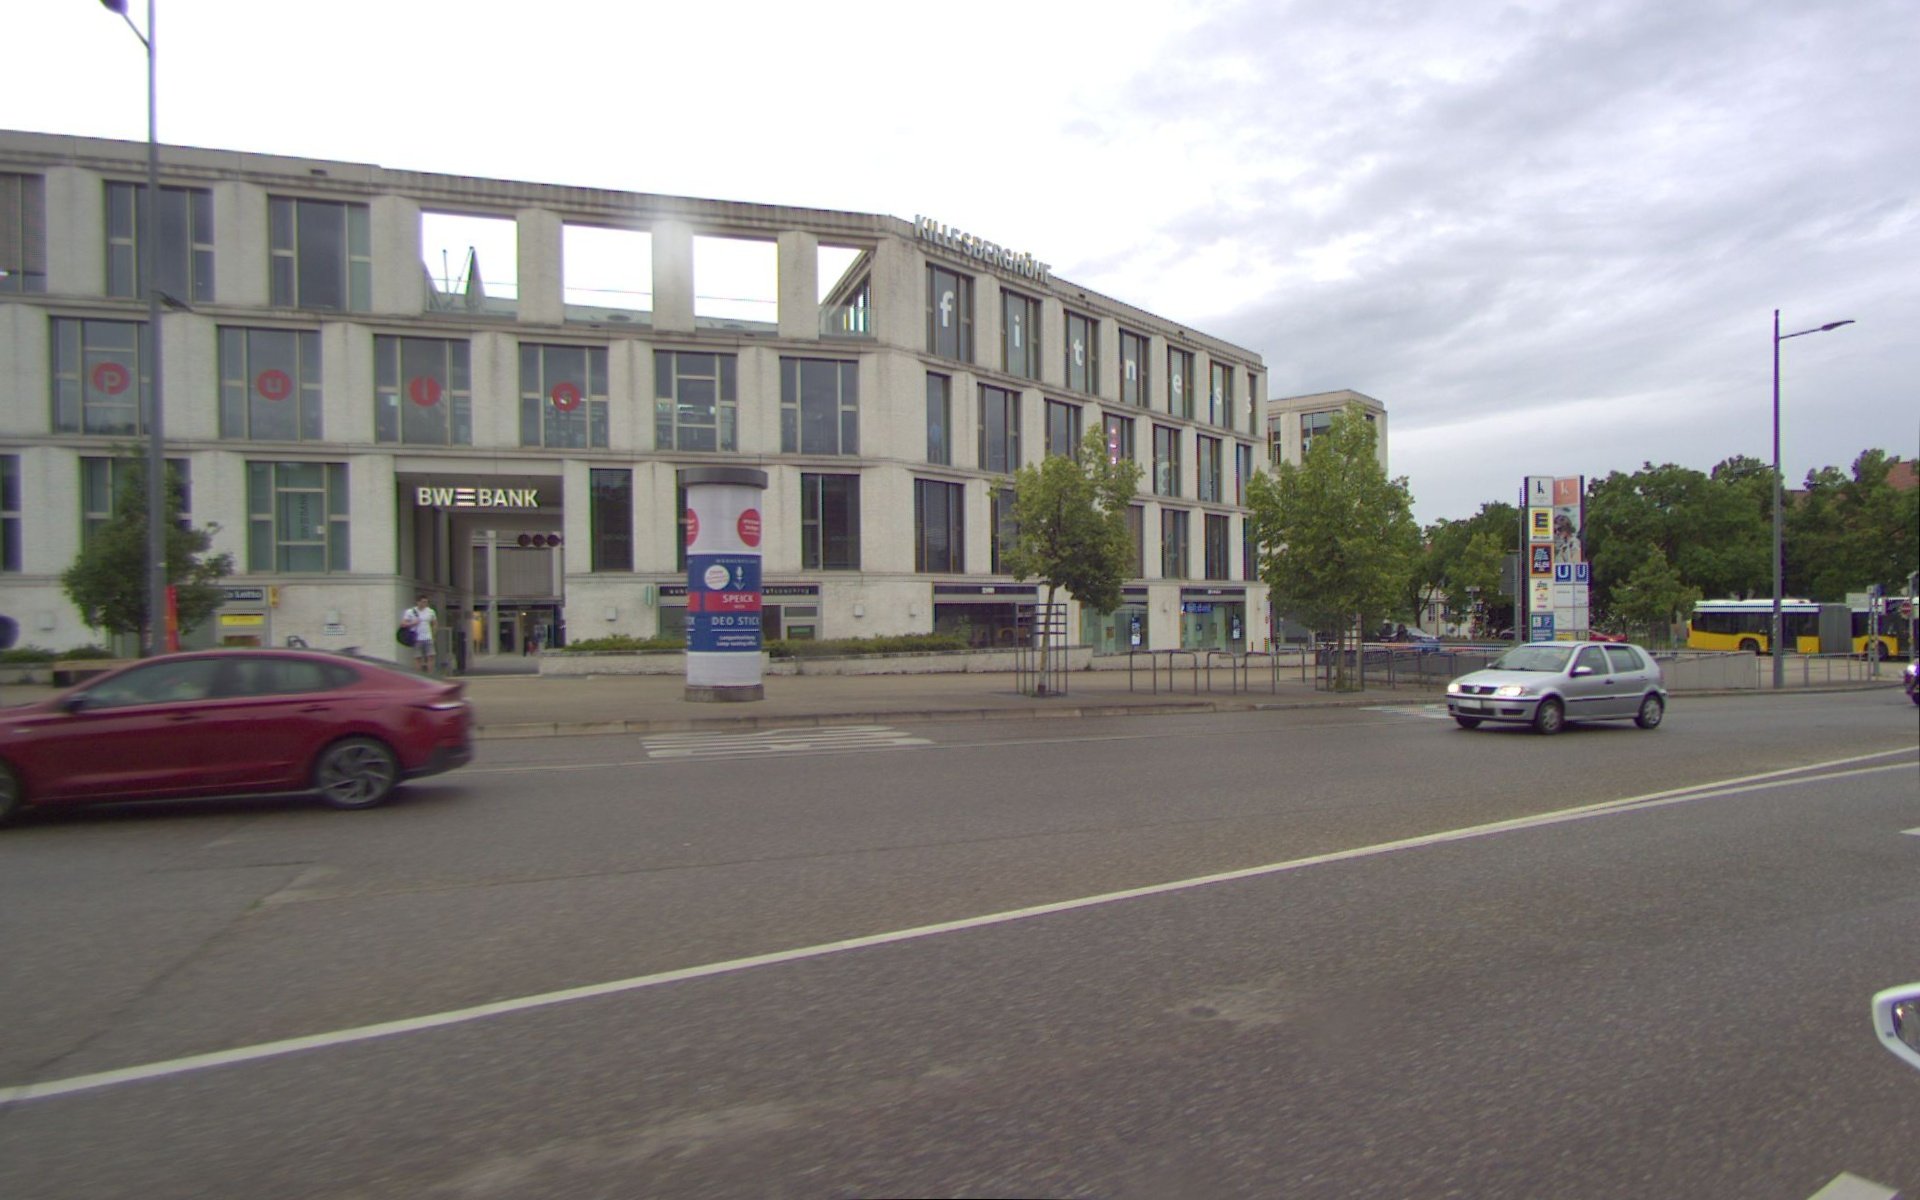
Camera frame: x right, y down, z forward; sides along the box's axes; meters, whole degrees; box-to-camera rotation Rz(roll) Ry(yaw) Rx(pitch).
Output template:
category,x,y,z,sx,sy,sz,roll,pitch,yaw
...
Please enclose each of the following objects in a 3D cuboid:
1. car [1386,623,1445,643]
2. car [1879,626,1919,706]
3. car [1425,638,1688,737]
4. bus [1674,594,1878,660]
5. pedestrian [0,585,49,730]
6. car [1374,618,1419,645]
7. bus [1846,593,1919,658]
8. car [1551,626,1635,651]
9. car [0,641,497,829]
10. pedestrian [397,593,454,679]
category,x,y,z,sx,sy,sz,roll,pitch,yaw
car,34.041,2.449,75.204,1.645,1.444,3.956,1,0,-24
car,22.670,1.412,22.099,4.671,1.705,1.849,1,-3,-24
car,9.681,1.360,16.307,3.824,1.435,1.758,1,-3,-24
bus,44.919,1.471,55.727,2.854,3.351,8.536,1,-1,-20
pedestrian,-12.636,0.743,13.195,0.735,1.866,0.752,1,-1,-21
car,29.163,2.089,67.066,1.752,1.754,3.983,0,-1,38
bus,47.865,1.204,46.910,2.850,3.144,9.724,0,-1,-16
car,43.356,2.641,68.918,1.972,1.444,4.562,3,0,-23
car,-6.678,1.119,9.148,4.403,1.435,1.828,1,-3,-24
pedestrian,-10.805,0.720,20.302,0.908,1.712,0.493,1,-1,-40
